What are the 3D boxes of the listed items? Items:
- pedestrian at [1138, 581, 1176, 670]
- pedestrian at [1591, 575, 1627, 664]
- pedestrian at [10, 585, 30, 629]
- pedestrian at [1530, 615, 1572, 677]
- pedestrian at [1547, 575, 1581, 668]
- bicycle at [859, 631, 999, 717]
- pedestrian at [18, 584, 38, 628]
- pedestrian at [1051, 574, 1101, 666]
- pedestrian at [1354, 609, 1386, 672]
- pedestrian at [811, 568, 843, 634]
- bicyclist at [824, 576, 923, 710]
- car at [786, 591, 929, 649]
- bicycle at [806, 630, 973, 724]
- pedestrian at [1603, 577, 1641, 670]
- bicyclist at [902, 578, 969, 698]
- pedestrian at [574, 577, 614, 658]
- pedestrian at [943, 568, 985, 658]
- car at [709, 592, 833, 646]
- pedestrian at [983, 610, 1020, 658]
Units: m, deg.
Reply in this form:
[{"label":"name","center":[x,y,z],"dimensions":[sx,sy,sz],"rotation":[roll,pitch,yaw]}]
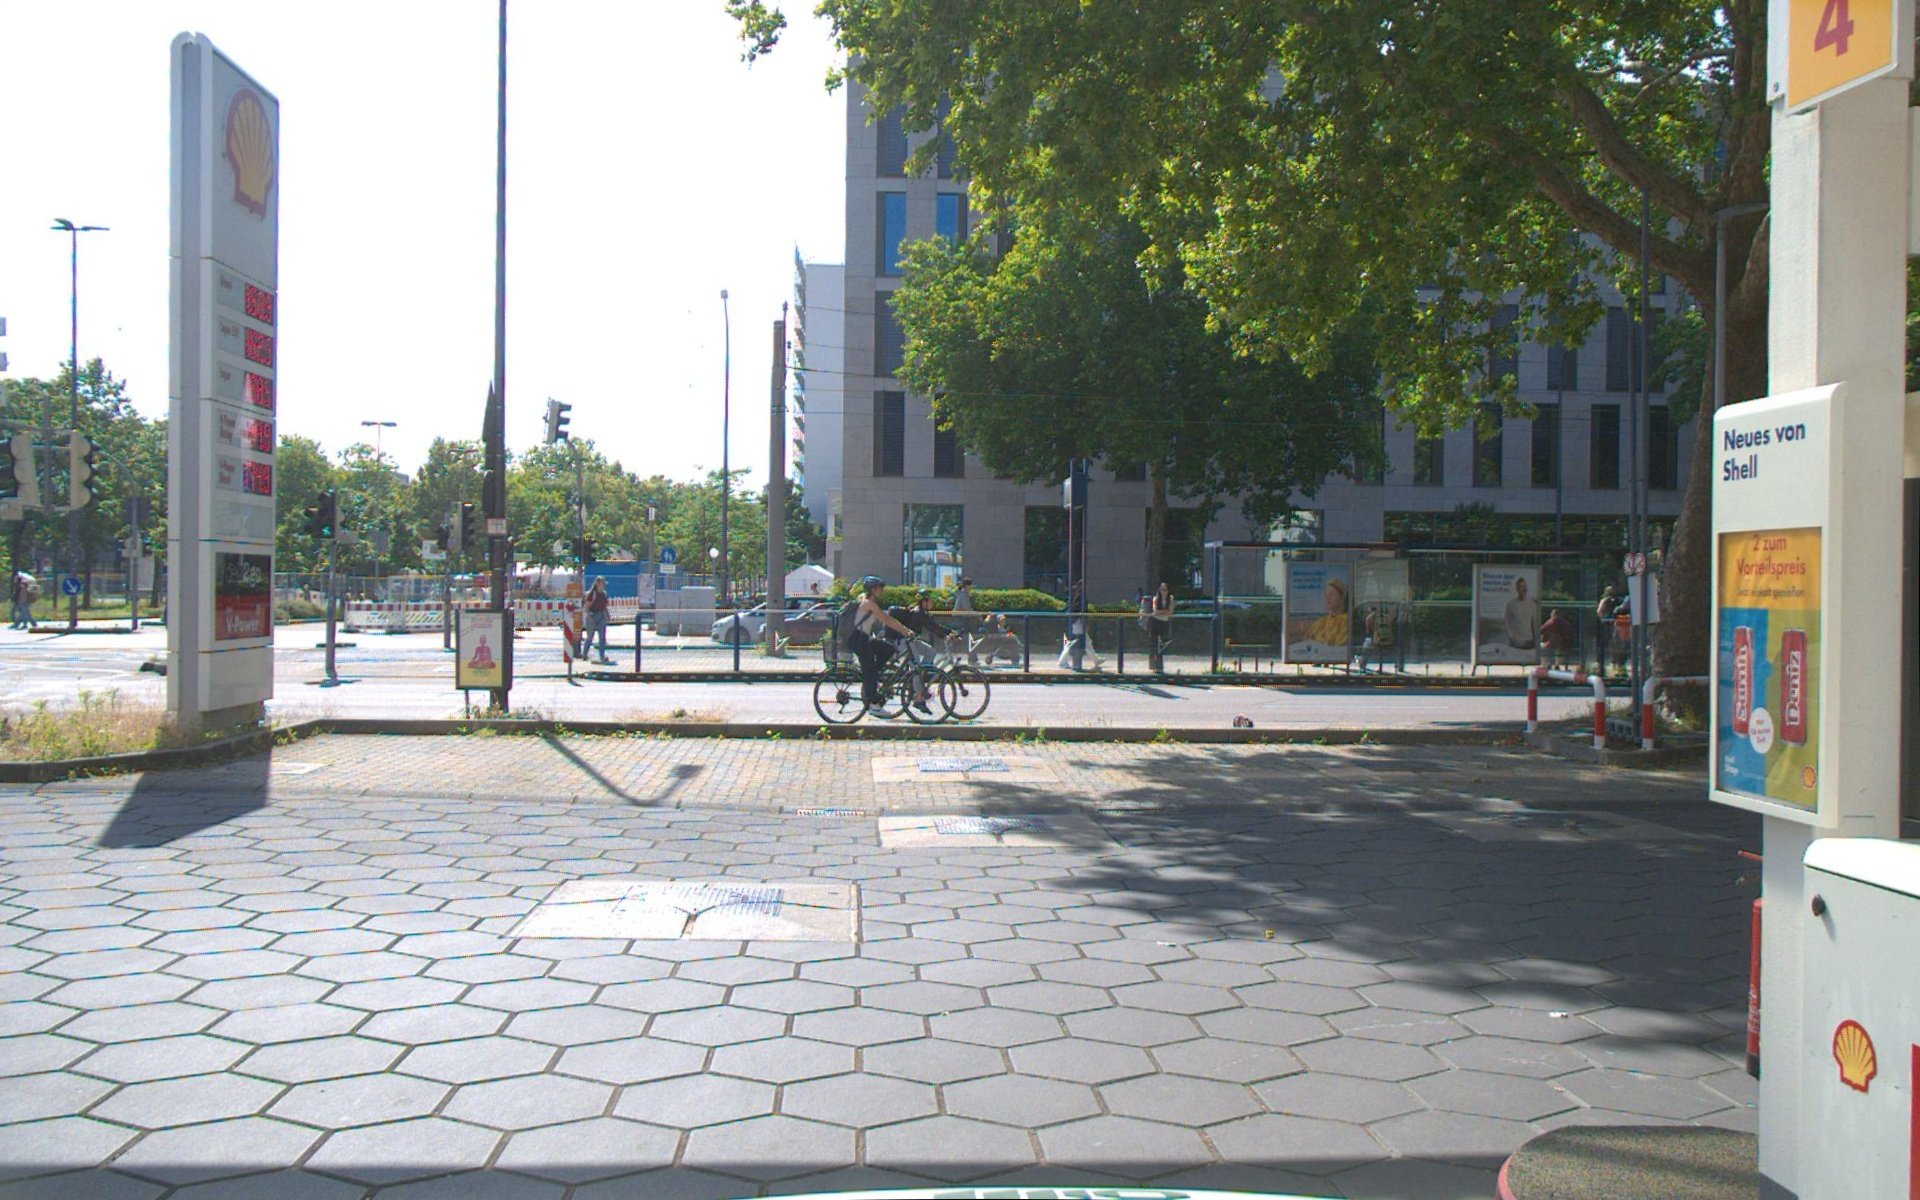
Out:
[{"label":"pedestrian","center":[3.660,0.460,30.775],"dimensions":[0.572,1.619,0.670],"rotation":[1,2,-4]},{"label":"pedestrian","center":[12.974,0.386,33.082],"dimensions":[0.489,1.766,0.524],"rotation":[1,0,-1]},{"label":"pedestrian","center":[-32.086,0.239,56.457],"dimensions":[0.557,1.494,0.509],"rotation":[1,0,-29]},{"label":"pedestrian","center":[11.272,0.867,31.572],"dimensions":[0.615,1.158,0.524],"rotation":[1,0,2]},{"label":"pedestrian","center":[11.504,0.407,31.506],"dimensions":[0.489,1.766,0.406],"rotation":[1,0,-1]},{"label":"bicycle","center":[-0.425,0.977,22.008],"dimensions":[1.825,1.101,0.524],"rotation":[1,0,-5]},{"label":"pedestrian","center":[-31.268,0.200,55.513],"dimensions":[0.557,1.494,0.509],"rotation":[1,0,-29]},{"label":"pedestrian","center":[2.200,0.364,31.260],"dimensions":[0.912,1.712,0.503],"rotation":[1,0,5]},{"label":"pedestrian","center":[7.736,0.763,31.232],"dimensions":[0.488,1.158,0.524],"rotation":[1,0,2]},{"label":"pedestrian","center":[-4.721,0.026,58.593],"dimensions":[1.086,2.287,1.102],"rotation":[1,0,-4]},{"label":"bicyclist","center":[-1.056,0.516,20.172],"dimensions":[1.147,1.608,0.639],"rotation":[1,0,-8]},{"label":"car","center":[-2.933,0.557,46.969],"dimensions":[3.914,1.579,1.699],"rotation":[1,0,-10]},{"label":"bicycle","center":[-0.867,0.933,20.191],"dimensions":[1.981,1.101,0.639],"rotation":[1,0,-8]},{"label":"pedestrian","center":[12.627,0.440,31.552],"dimensions":[0.489,1.766,0.524],"rotation":[1,0,-1]},{"label":"bicyclist","center":[-0.333,0.501,22.056],"dimensions":[0.846,1.571,0.534],"rotation":[1,0,-6]},{"label":"pedestrian","center":[-7.181,0.342,32.471],"dimensions":[0.636,1.567,0.503],"rotation":[1,0,5]},{"label":"pedestrian","center":[0.076,0.241,31.894],"dimensions":[0.760,1.712,0.503],"rotation":[1,0,5]},{"label":"car","center":[-5.710,0.564,49.812],"dimensions":[3.614,1.579,1.588],"rotation":[1,0,-10]},{"label":"pedestrian","center":[0.797,0.655,31.832],"dimensions":[0.676,0.895,0.503],"rotation":[1,0,5]}]
